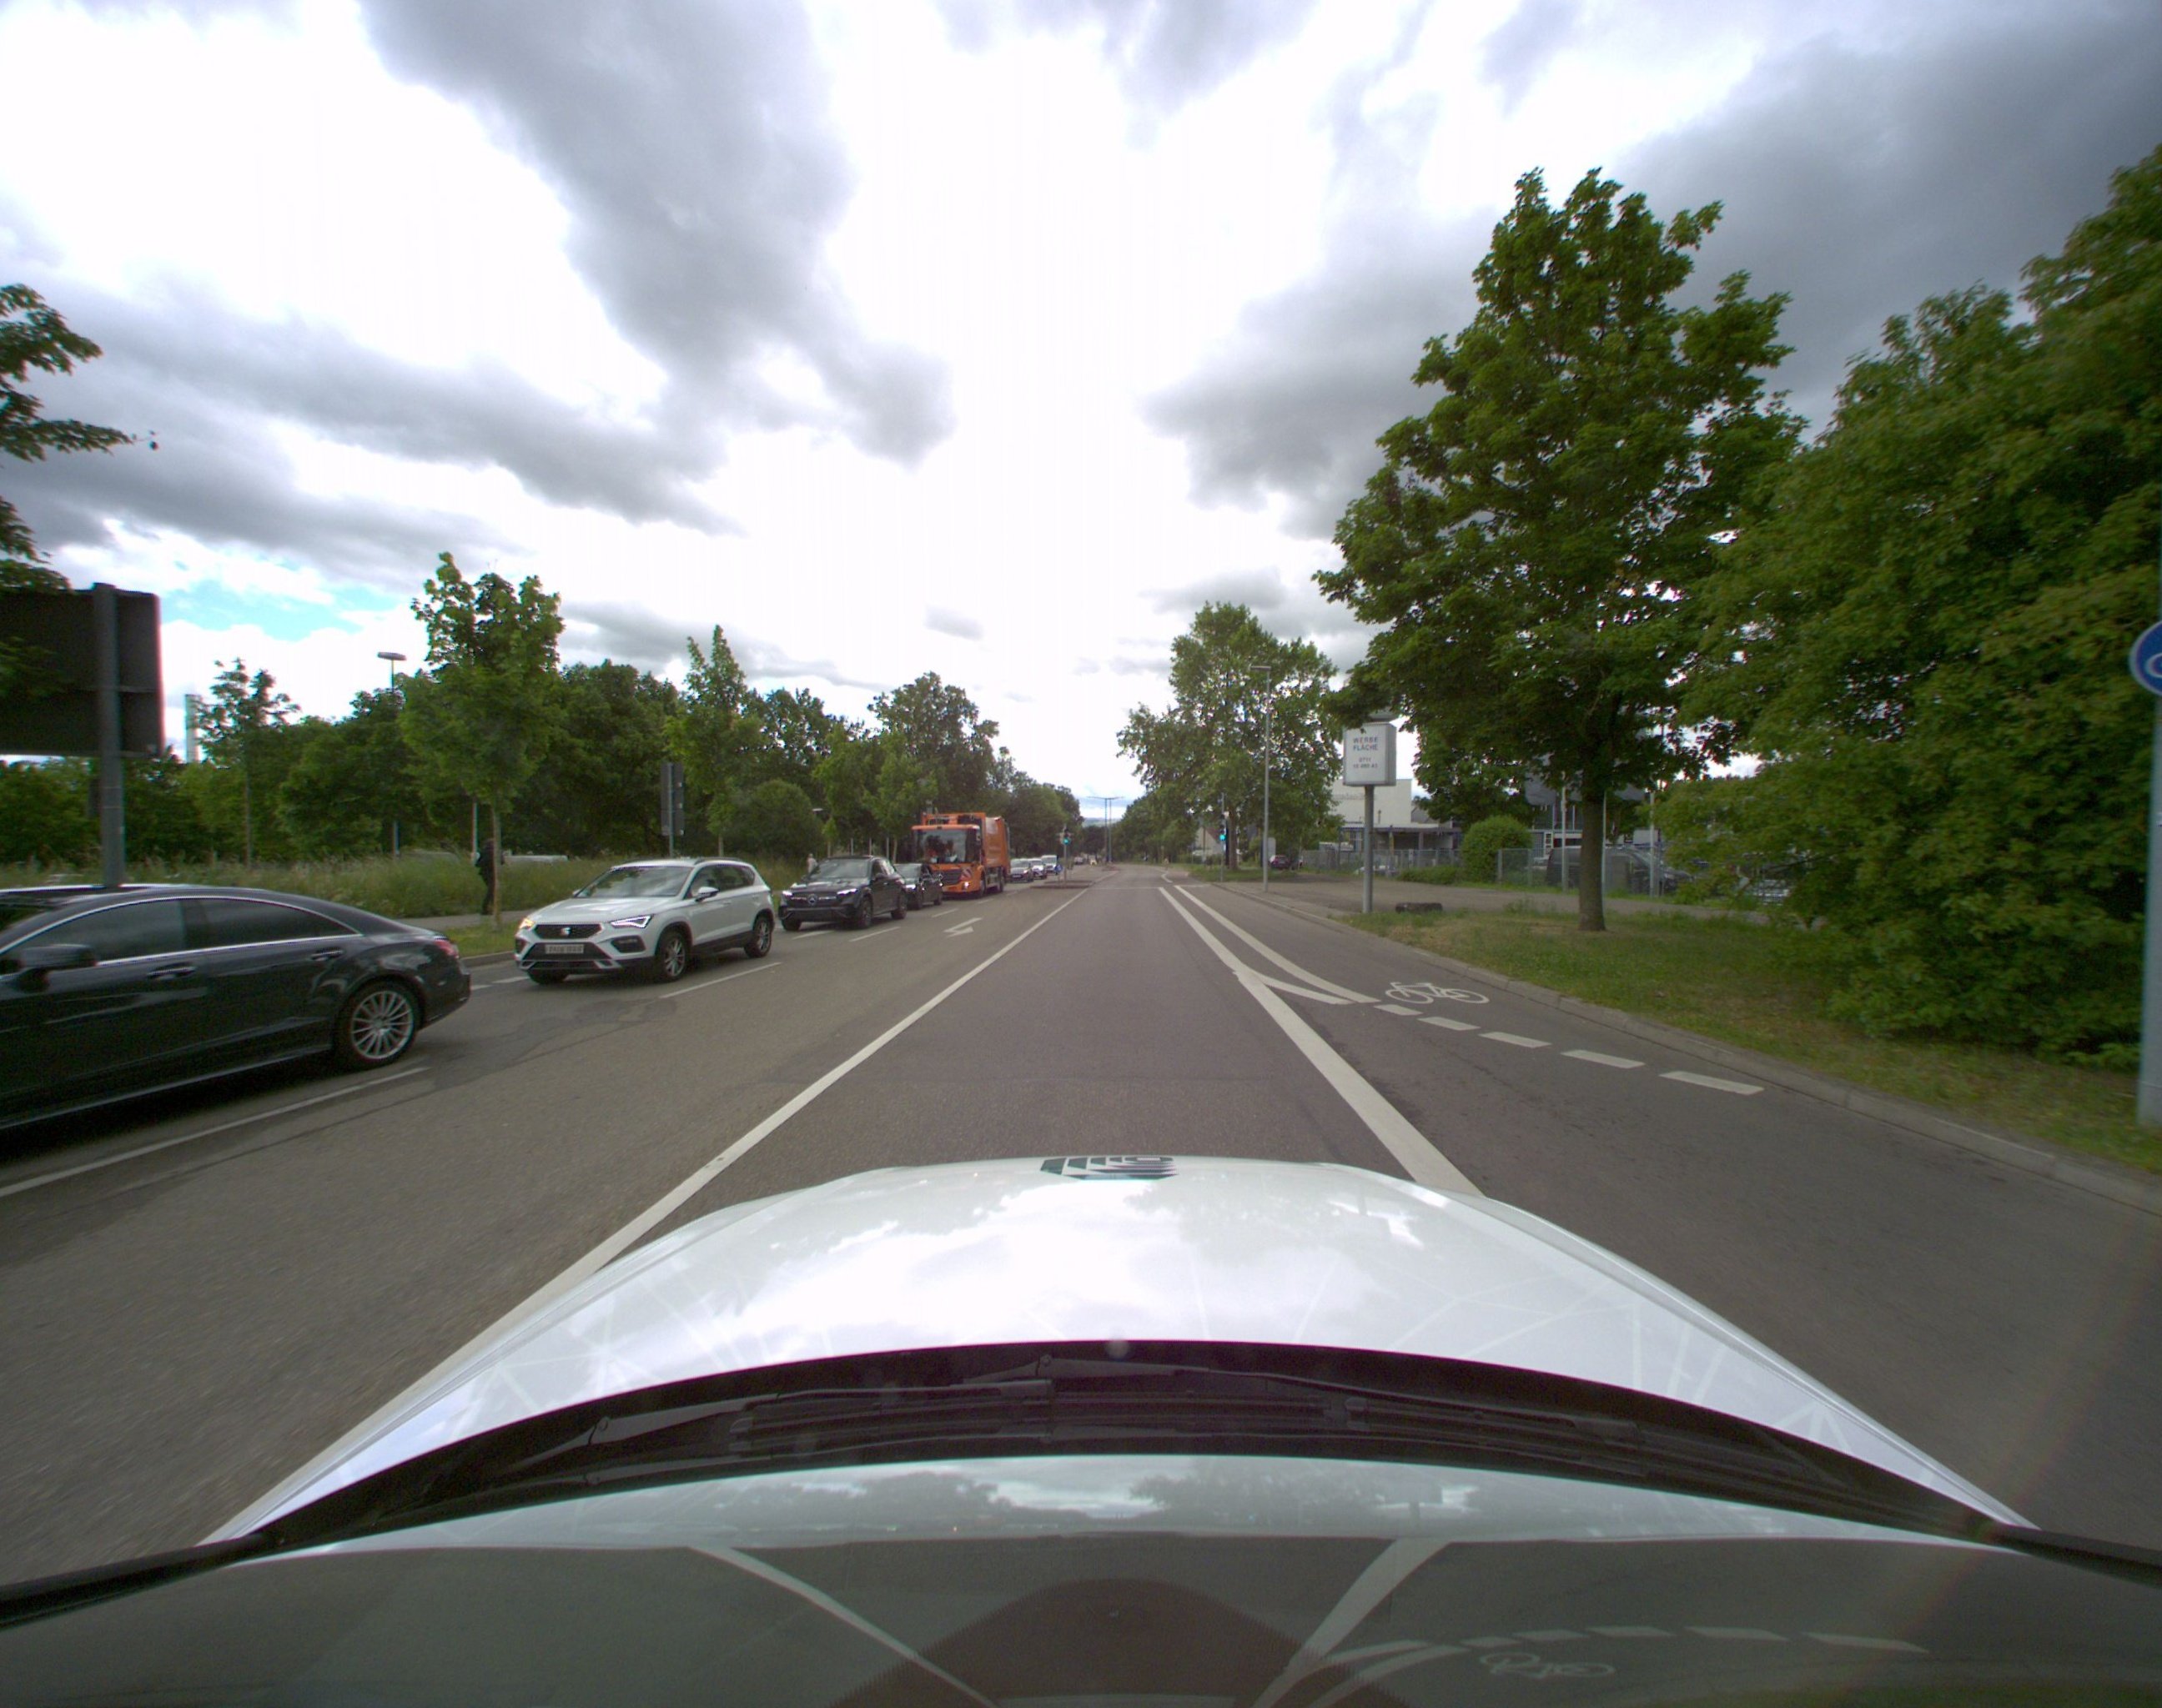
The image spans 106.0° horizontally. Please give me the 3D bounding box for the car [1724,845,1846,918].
[{"bbox_3d":[21.442,0.775,24.771,4.018,2.025,1.978,0,0,-36],"label":"car"}]

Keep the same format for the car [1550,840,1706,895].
[{"bbox_3d":[21.468,0.501,32.194,2.006,2.025,4.751,0,0,-30],"label":"car"}]

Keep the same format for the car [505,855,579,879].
[{"bbox_3d":[-46.018,1.087,69.588,4.950,2.014,2.000,-1,0,0],"label":"car"}]

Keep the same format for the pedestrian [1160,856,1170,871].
[{"bbox_3d":[8.492,0.979,82.388,0.790,1.463,0.745,0,0,-16],"label":"pedestrian"}]

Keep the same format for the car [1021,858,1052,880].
[{"bbox_3d":[-3.252,1.075,60.156,1.839,1.520,4.817,-2,0,2],"label":"car"}]

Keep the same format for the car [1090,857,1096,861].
[{"bbox_3d":[3.384,1.423,234.497,1.605,1.304,4.003,0,0,3],"label":"car"}]

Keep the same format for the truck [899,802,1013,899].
[{"bbox_3d":[-4.940,-0.153,34.450,2.694,3.487,10.004,0,0,3],"label":"truck"}]

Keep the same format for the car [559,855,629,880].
[{"bbox_3d":[-43.426,1.176,72.672,4.953,2.190,1.999,-1,0,-2],"label":"car"}]

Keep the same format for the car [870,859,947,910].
[{"bbox_3d":[-5.378,0.901,25.815,1.428,1.457,3.897,0,0,3],"label":"car"}]

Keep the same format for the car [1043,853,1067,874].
[{"bbox_3d":[-2.301,0.855,74.201,1.839,1.803,4.652,-2,0,2],"label":"car"}]

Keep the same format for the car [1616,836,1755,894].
[{"bbox_3d":[25.937,0.455,35.099,2.005,2.326,4.386,0,0,-29],"label":"car"}]

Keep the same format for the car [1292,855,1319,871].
[{"bbox_3d":[21.827,0.859,79.290,1.703,1.508,4.348,2,0,4],"label":"car"}]

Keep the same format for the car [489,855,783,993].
[{"bbox_3d":[-5.993,0.821,11.658,1.723,1.585,4.226,0,0,3],"label":"car"}]

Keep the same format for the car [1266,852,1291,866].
[{"bbox_3d":[19.157,0.475,79.085,1.703,1.354,4.348,-1,0,4],"label":"car"}]

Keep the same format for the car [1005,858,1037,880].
[{"bbox_3d":[-3.804,0.928,52.060,1.541,1.331,3.656,-2,0,2],"label":"car"}]

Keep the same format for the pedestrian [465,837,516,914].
[{"bbox_3d":[-14.372,0.512,19.836,0.718,1.835,0.678,0,0,3],"label":"pedestrian"}]

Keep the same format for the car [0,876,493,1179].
[{"bbox_3d":[-6.087,0.898,4.717,1.633,1.390,4.888,0,0,3],"label":"car"}]

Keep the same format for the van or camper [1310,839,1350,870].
[{"bbox_3d":[24.645,0.059,80.787,1.958,2.868,6.921,0,0,1],"label":"van or camper"}]

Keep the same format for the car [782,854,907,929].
[{"bbox_3d":[-5.474,0.797,19.405,1.633,1.585,4.063,0,0,3],"label":"car"}]

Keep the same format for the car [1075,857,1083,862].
[{"bbox_3d":[-0.403,1.256,186.421,1.764,1.304,4.003,0,0,3],"label":"car"}]

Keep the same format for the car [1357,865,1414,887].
[{"bbox_3d":[23.263,1.701,62.320,3.724,1.618,1.690,0,0,-2],"label":"car"}]
